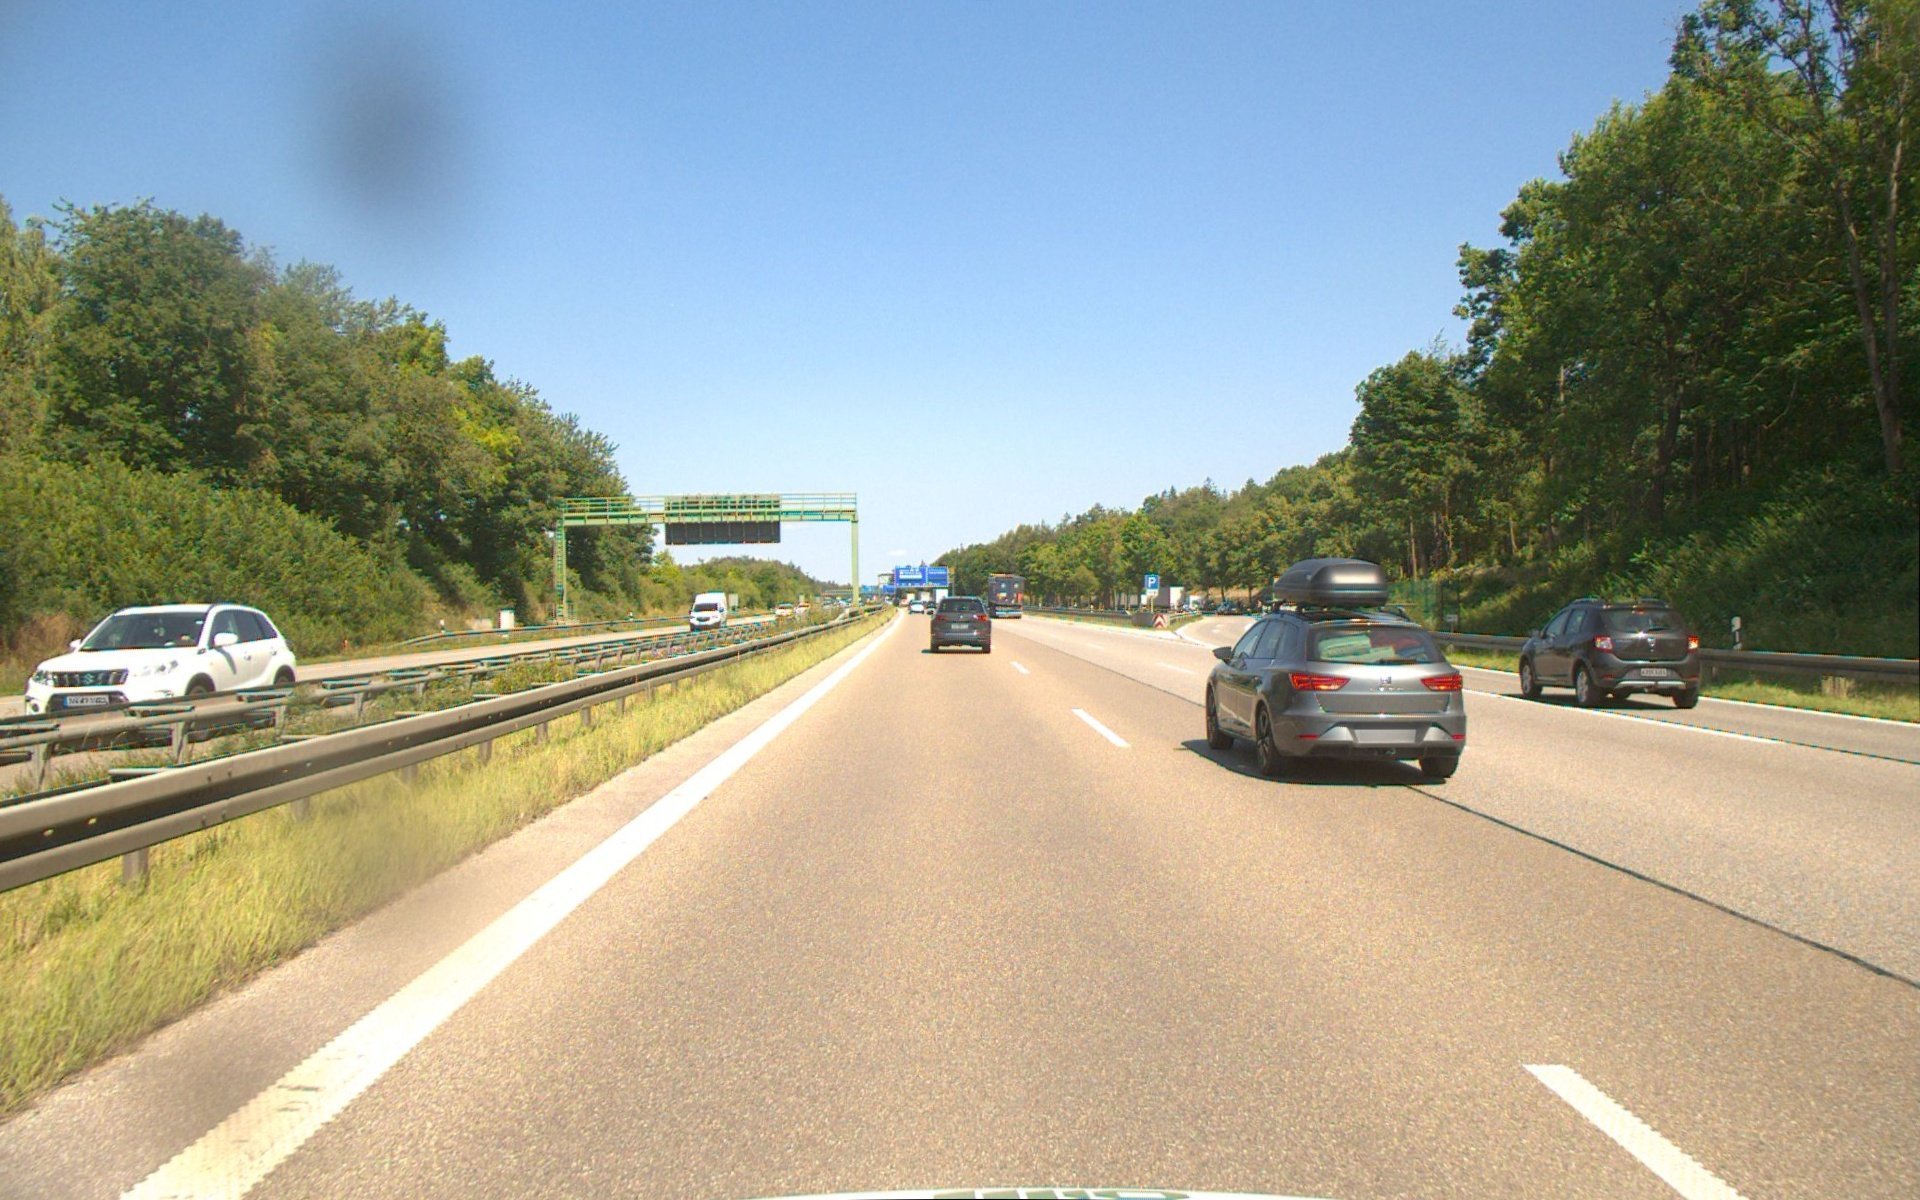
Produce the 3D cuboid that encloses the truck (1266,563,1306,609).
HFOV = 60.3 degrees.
[{"bbox_3d":[30.155,-1.299,153.168,3.215,4.016,9.359,-1,0,9],"label":"truck"}]

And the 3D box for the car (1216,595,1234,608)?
[{"bbox_3d":[35.557,0.205,221.910,1.622,1.705,4.651,0,0,-1],"label":"car"}]

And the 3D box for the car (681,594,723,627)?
[{"bbox_3d":[-15.241,0.601,97.770,1.710,1.862,5.167,-2,0,-1],"label":"car"}]

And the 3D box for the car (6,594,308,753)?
[{"bbox_3d":[-9.582,0.804,20.109,1.775,1.645,3.912,-3,0,-2],"label":"car"}]

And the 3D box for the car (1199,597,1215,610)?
[{"bbox_3d":[34.583,0.484,231.540,1.621,1.910,4.801,0,0,2],"label":"car"}]

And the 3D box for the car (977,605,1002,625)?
[{"bbox_3d":[2.132,1.051,117.646,1.728,1.406,4.259,1,0,1],"label":"car"}]

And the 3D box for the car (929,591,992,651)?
[{"bbox_3d":[0.059,0.578,49.284,1.762,1.698,4.259,1,0,1],"label":"car"}]

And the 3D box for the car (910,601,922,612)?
[{"bbox_3d":[-5.061,0.717,190.587,1.441,1.249,3.409,-1,0,-2],"label":"car"}]

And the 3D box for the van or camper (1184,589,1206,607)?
[{"bbox_3d":[34.734,-0.271,244.665,2.159,2.575,5.873,0,0,-2],"label":"van or camper"}]

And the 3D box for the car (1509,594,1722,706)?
[{"bbox_3d":[10.233,0.725,26.156,1.728,1.595,4.259,1,0,1],"label":"car"}]

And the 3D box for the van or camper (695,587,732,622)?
[{"bbox_3d":[-19.284,0.354,129.434,1.997,2.604,6.196,-2,0,-1],"label":"van or camper"}]

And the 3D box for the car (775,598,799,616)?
[{"bbox_3d":[-16.549,0.677,158.514,1.841,1.638,5.308,-2,0,-1],"label":"car"}]

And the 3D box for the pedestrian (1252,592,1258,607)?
[{"bbox_3d":[36.268,-0.073,203.356,0.781,1.813,0.643,-1,0,11],"label":"pedestrian"}]

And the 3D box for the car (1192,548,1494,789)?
[{"bbox_3d":[3.456,0.540,15.870,1.631,1.909,4.826,-2,0,-1],"label":"car"}]

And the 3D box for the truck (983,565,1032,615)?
[{"bbox_3d":[4.331,-0.894,154.113,3.704,4.499,14.046,0,0,-2],"label":"truck"}]
